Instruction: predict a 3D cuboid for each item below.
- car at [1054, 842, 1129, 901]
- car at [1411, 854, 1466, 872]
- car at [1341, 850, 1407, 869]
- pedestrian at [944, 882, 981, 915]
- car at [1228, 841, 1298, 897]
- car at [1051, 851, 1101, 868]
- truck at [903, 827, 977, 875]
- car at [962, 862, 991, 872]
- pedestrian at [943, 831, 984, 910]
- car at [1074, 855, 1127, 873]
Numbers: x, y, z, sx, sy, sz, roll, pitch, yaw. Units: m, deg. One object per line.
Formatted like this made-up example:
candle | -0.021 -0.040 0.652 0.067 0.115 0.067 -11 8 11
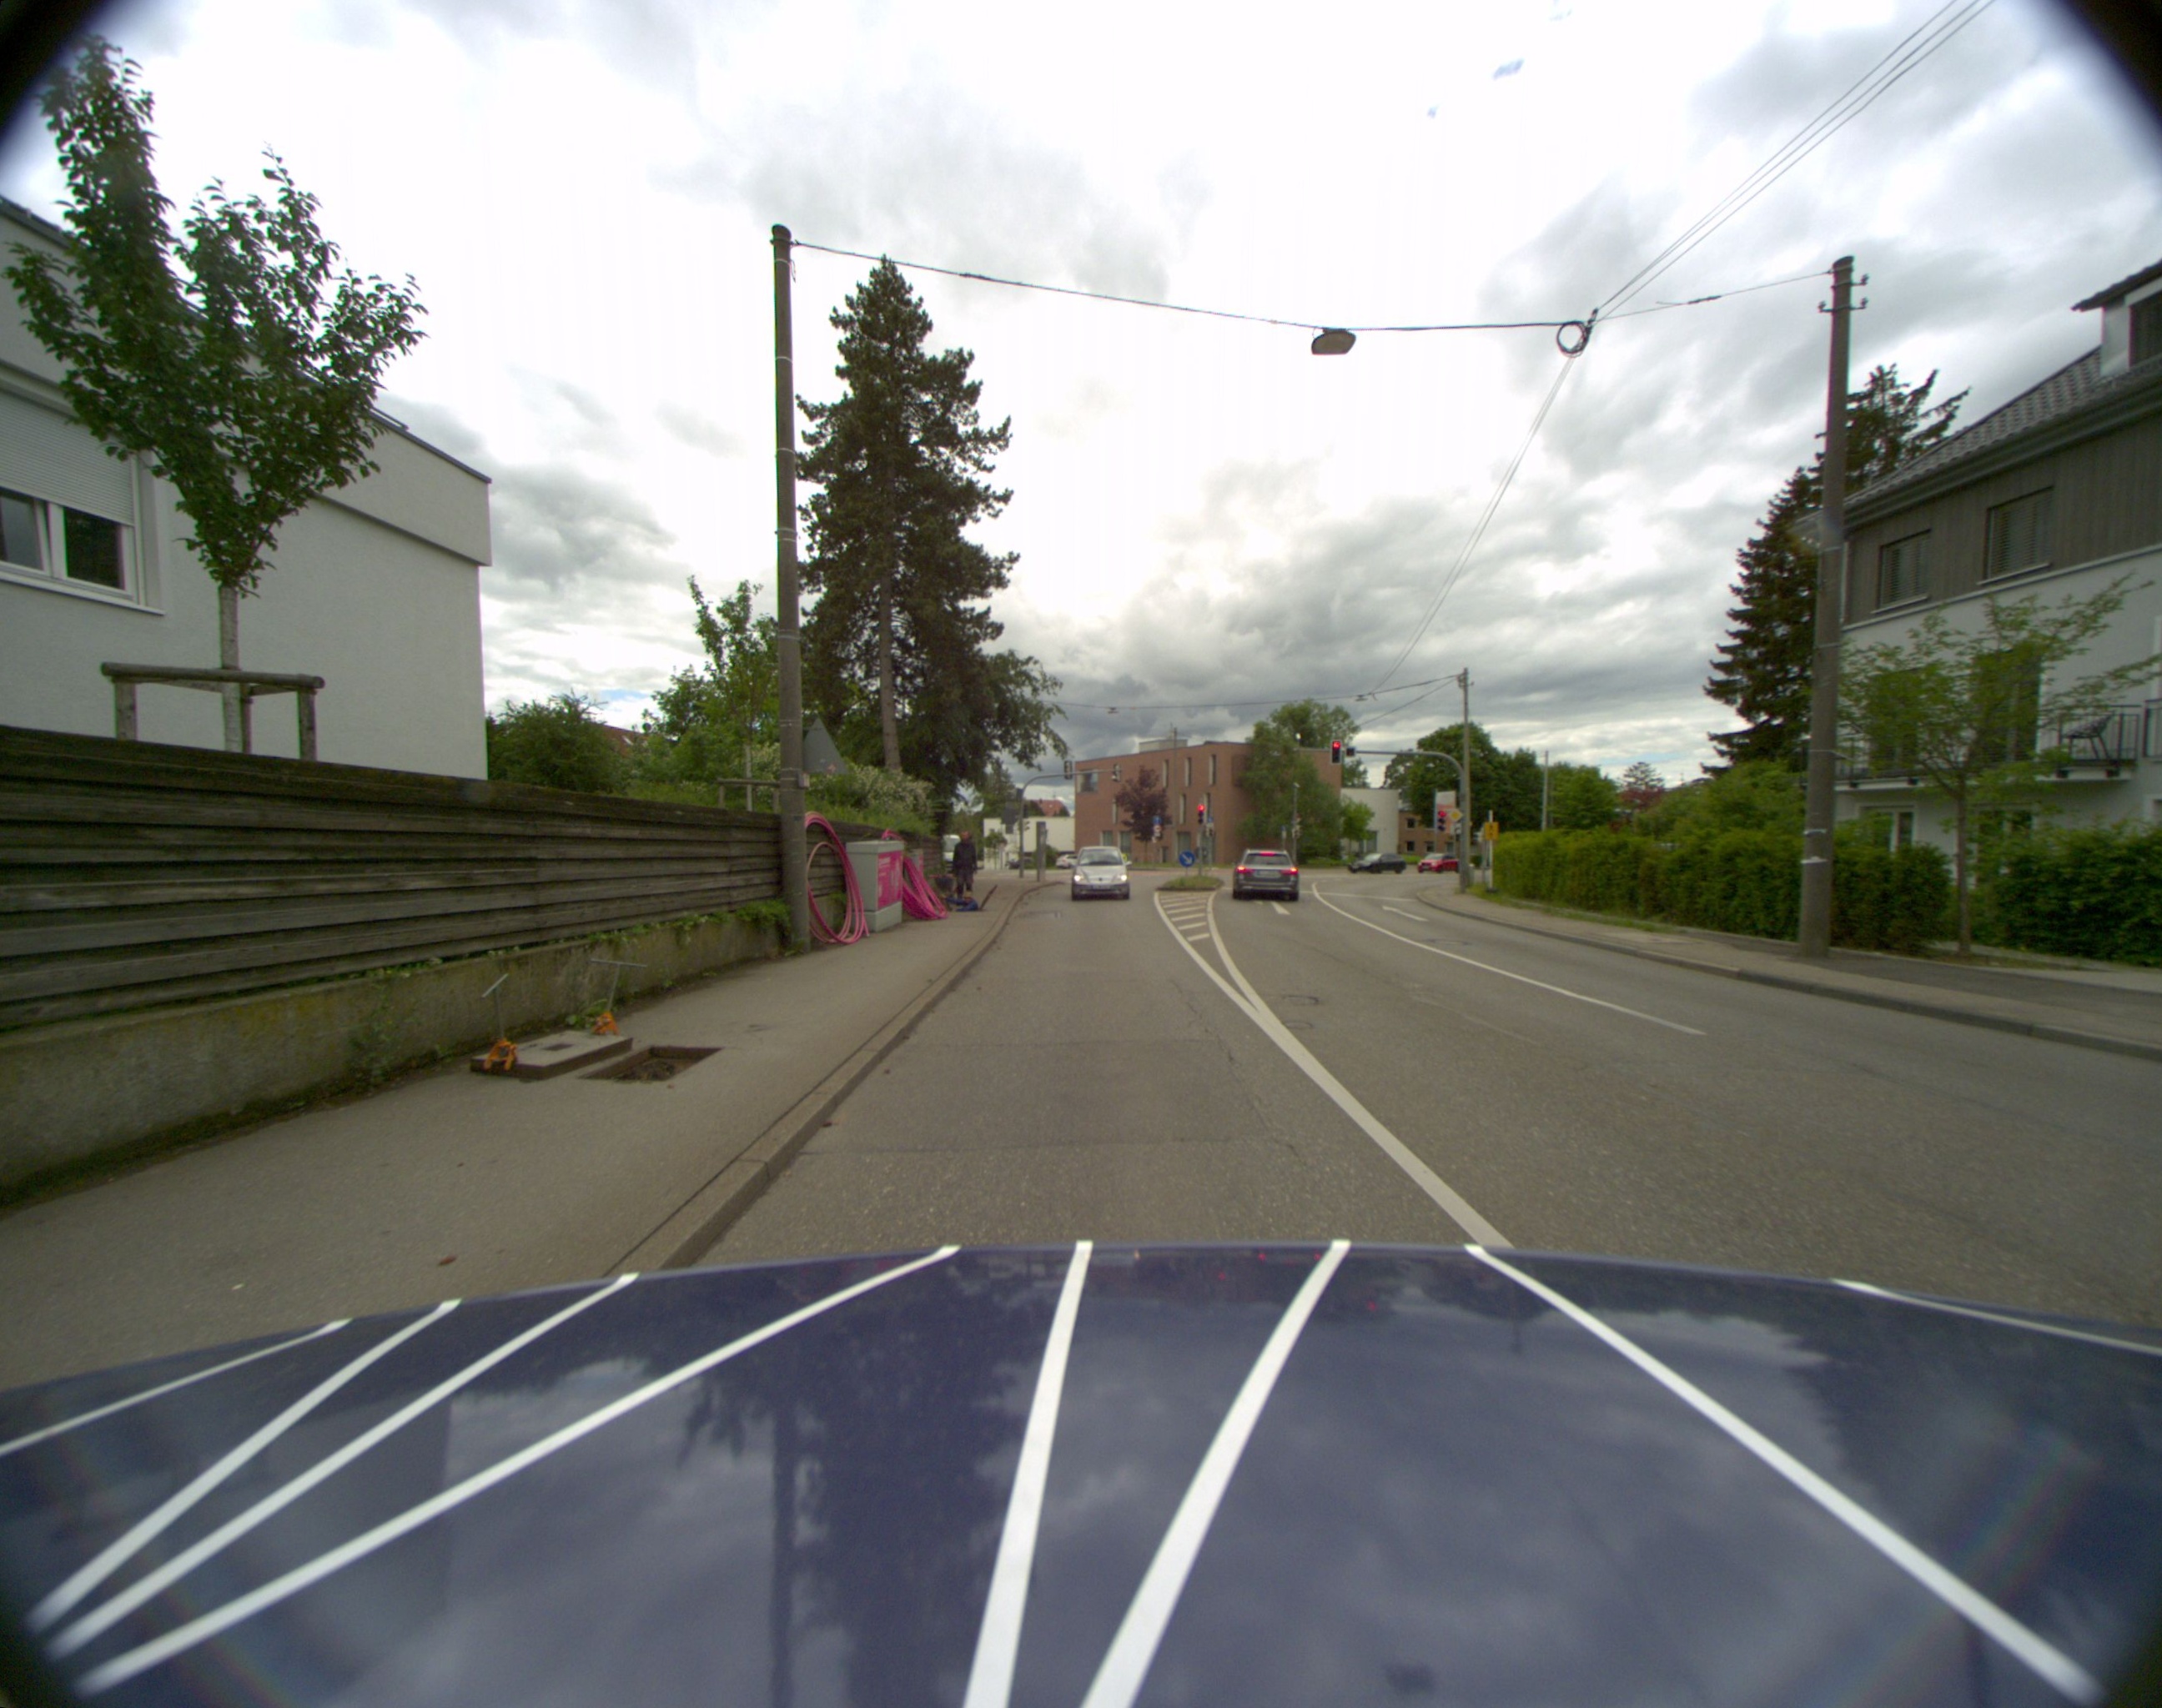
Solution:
car | 0.402 0.450 22.494 1.998 1.587 4.000 -1 1 3
car | 26.775 0.645 56.809 4.007 1.193 1.994 -1 2 -35
car | 20.416 0.370 52.973 4.004 1.237 1.996 -1 2 -21
pedestrian | -2.747 1.027 17.638 0.648 0.693 0.583 -1 1 -41
car | 5.453 0.378 22.997 1.828 1.476 4.752 1 1 12
car | -0.501 0.536 73.589 4.442 1.549 1.996 0 0 -25
truck | -7.583 -0.199 40.210 2.407 2.338 6.175 0 1 -24
car | -17.609 2.226 128.360 4.442 1.549 1.996 0 0 -25
pedestrian | -2.906 0.387 18.800 0.849 1.913 0.800 -1 1 -20
car | 1.771 0.892 69.485 4.442 1.549 1.996 0 0 -25
